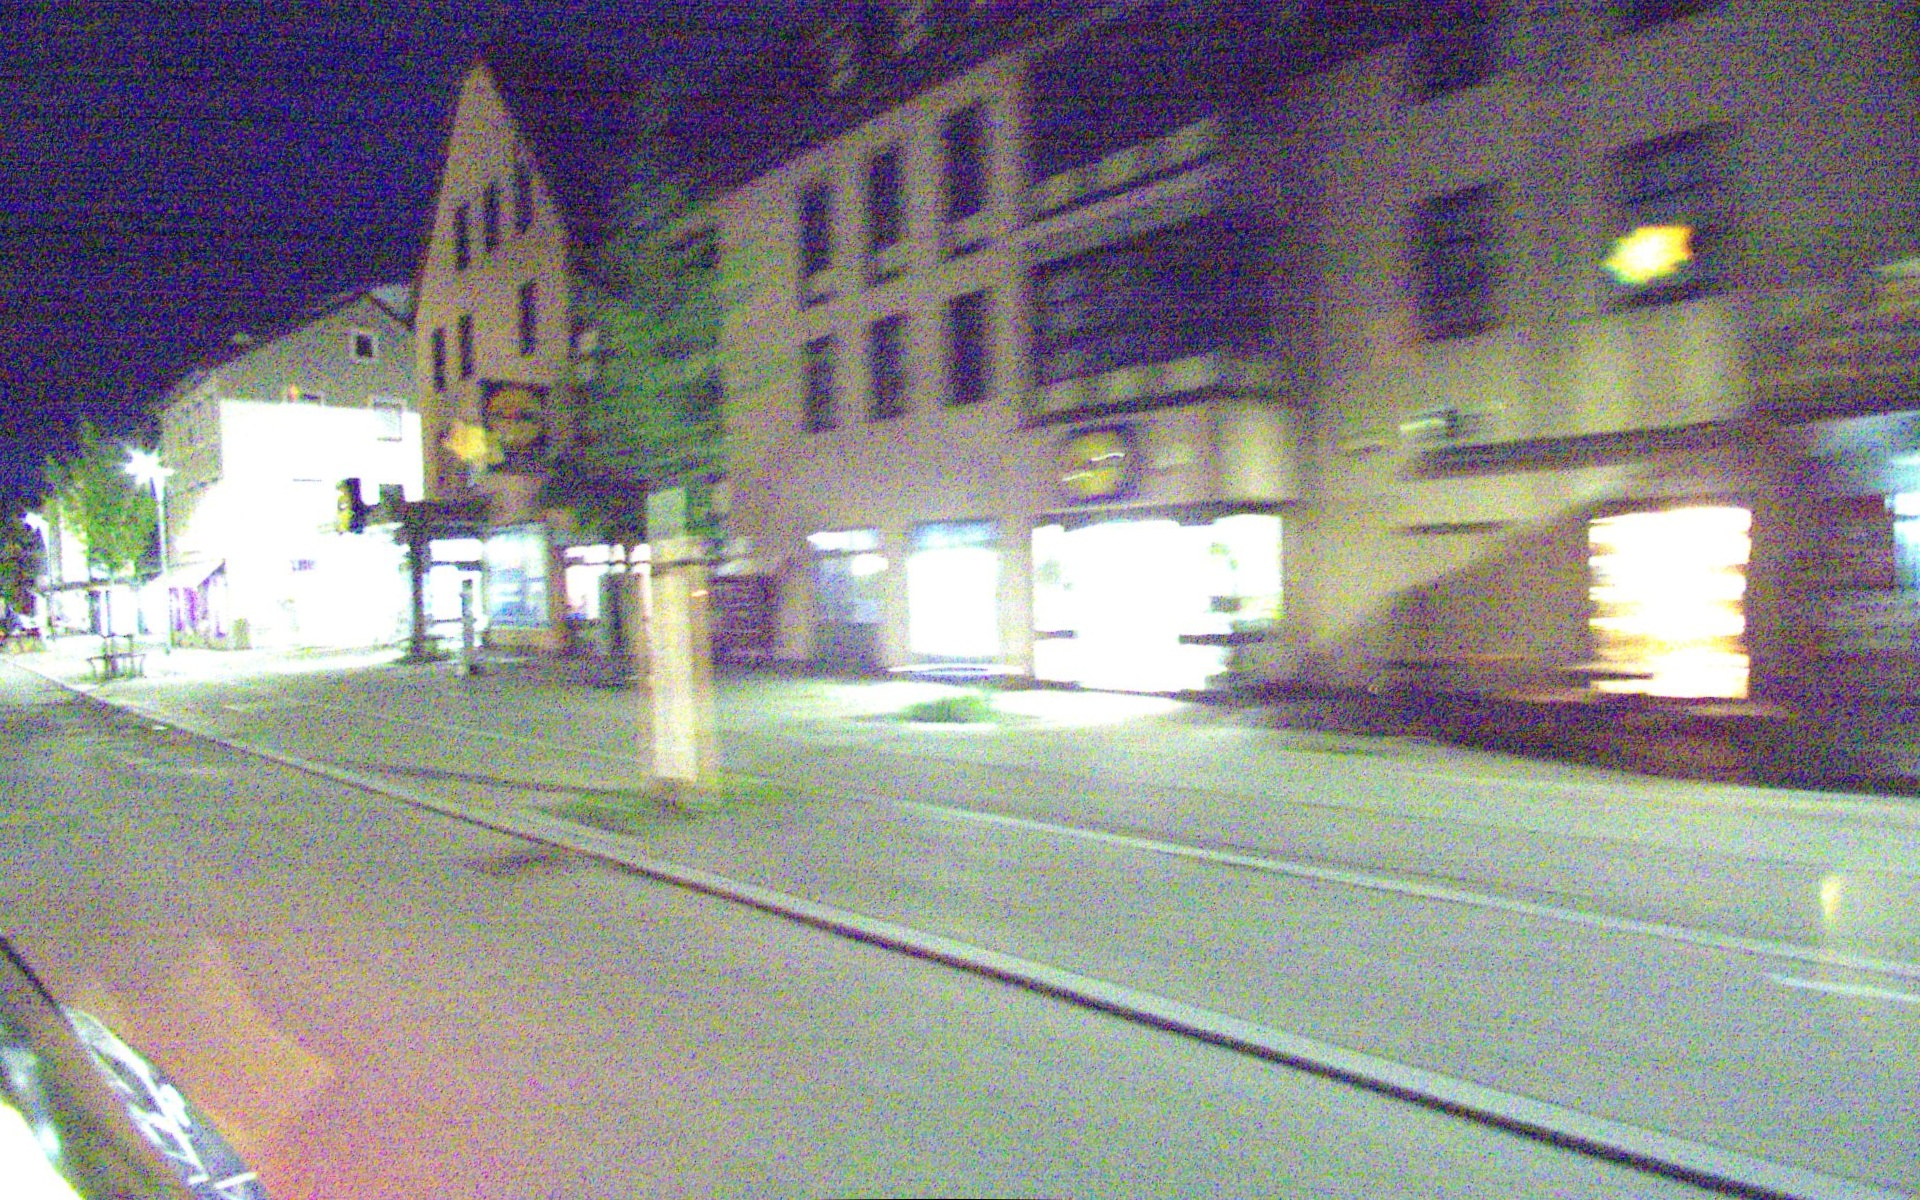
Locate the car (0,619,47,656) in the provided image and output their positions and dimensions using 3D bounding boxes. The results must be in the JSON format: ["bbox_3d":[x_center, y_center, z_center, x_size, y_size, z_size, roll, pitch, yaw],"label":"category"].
[{"bbox_3d":[-41.376,1.629,43.981,4.928,1.430,1.877,-1,2,41],"label":"car"}]

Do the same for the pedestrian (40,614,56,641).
[{"bbox_3d":[-54.849,1.666,60.856,0.664,1.600,0.523,-1,0,34],"label":"pedestrian"}]

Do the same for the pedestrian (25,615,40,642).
[{"bbox_3d":[-55.449,1.711,60.512,0.665,1.600,0.522,-1,0,39],"label":"pedestrian"}]

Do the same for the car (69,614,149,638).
[{"bbox_3d":[-55.245,1.698,65.754,1.652,1.427,3.783,-1,0,42],"label":"car"}]
